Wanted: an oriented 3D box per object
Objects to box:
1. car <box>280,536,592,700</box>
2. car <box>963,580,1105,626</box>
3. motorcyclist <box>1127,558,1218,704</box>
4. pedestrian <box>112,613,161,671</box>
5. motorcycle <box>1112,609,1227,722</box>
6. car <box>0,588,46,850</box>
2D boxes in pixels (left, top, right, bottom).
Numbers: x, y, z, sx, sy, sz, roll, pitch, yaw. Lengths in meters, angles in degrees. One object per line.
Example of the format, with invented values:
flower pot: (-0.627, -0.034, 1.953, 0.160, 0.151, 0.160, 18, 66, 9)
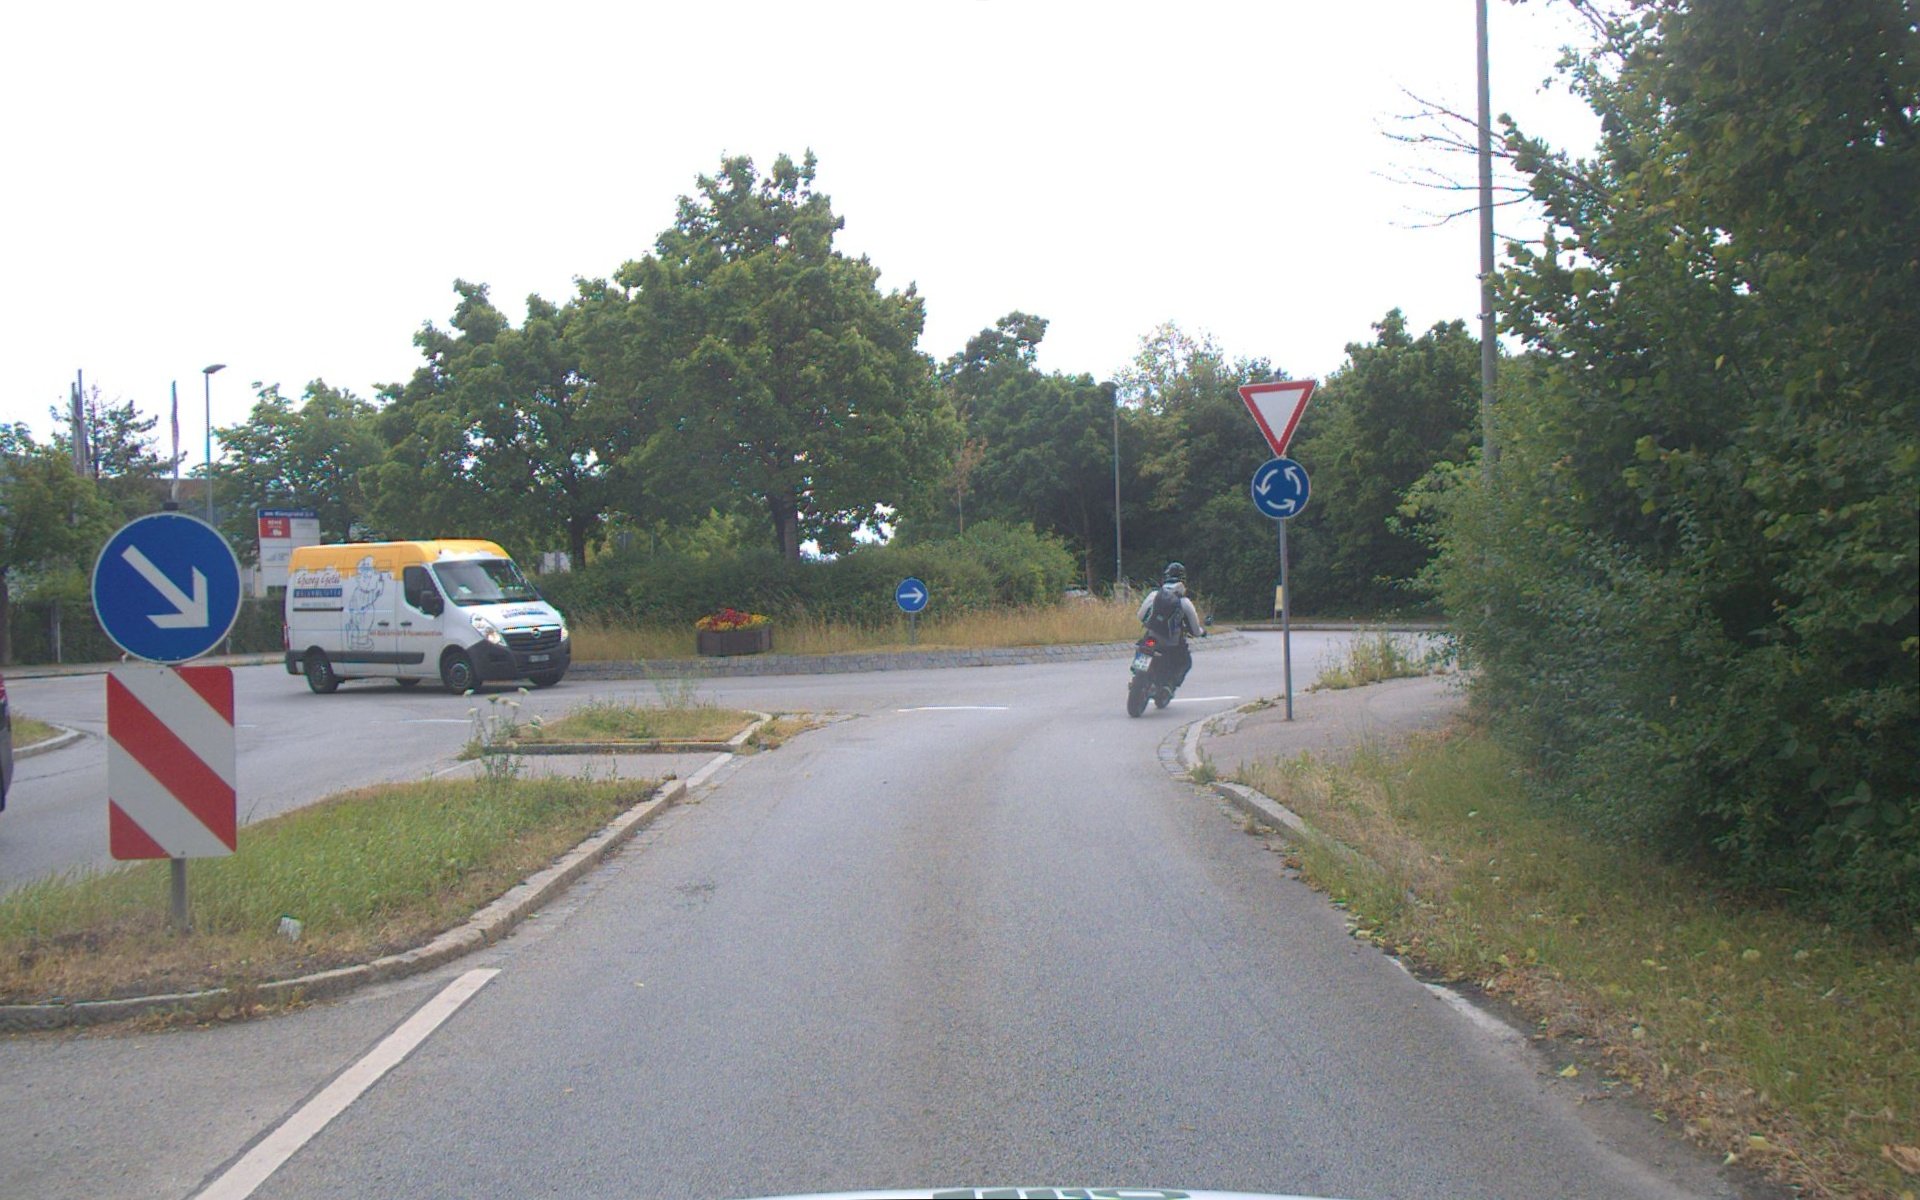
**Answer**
car: (-8.841, 0.312, 27.696, 5.332, 2.494, 2.162, -2, 0, 36)
car: (2.273, 0.095, 51.107, 3.920, 1.277, 1.993, -2, 1, 36)
motorcyclist: (2.512, 0.352, 19.453, 0.843, 1.652, 1.191, -1, 0, 17)
pedestrian: (-22.064, 1.126, 44.318, 0.618, 1.494, 0.947, -2, 0, 28)
motorcycle: (2.490, 0.727, 19.357, 0.877, 1.178, 2.622, -1, 0, 17)
car: (-6.566, 0.784, 8.540, 1.706, 1.613, 4.348, -3, 1, -8)
